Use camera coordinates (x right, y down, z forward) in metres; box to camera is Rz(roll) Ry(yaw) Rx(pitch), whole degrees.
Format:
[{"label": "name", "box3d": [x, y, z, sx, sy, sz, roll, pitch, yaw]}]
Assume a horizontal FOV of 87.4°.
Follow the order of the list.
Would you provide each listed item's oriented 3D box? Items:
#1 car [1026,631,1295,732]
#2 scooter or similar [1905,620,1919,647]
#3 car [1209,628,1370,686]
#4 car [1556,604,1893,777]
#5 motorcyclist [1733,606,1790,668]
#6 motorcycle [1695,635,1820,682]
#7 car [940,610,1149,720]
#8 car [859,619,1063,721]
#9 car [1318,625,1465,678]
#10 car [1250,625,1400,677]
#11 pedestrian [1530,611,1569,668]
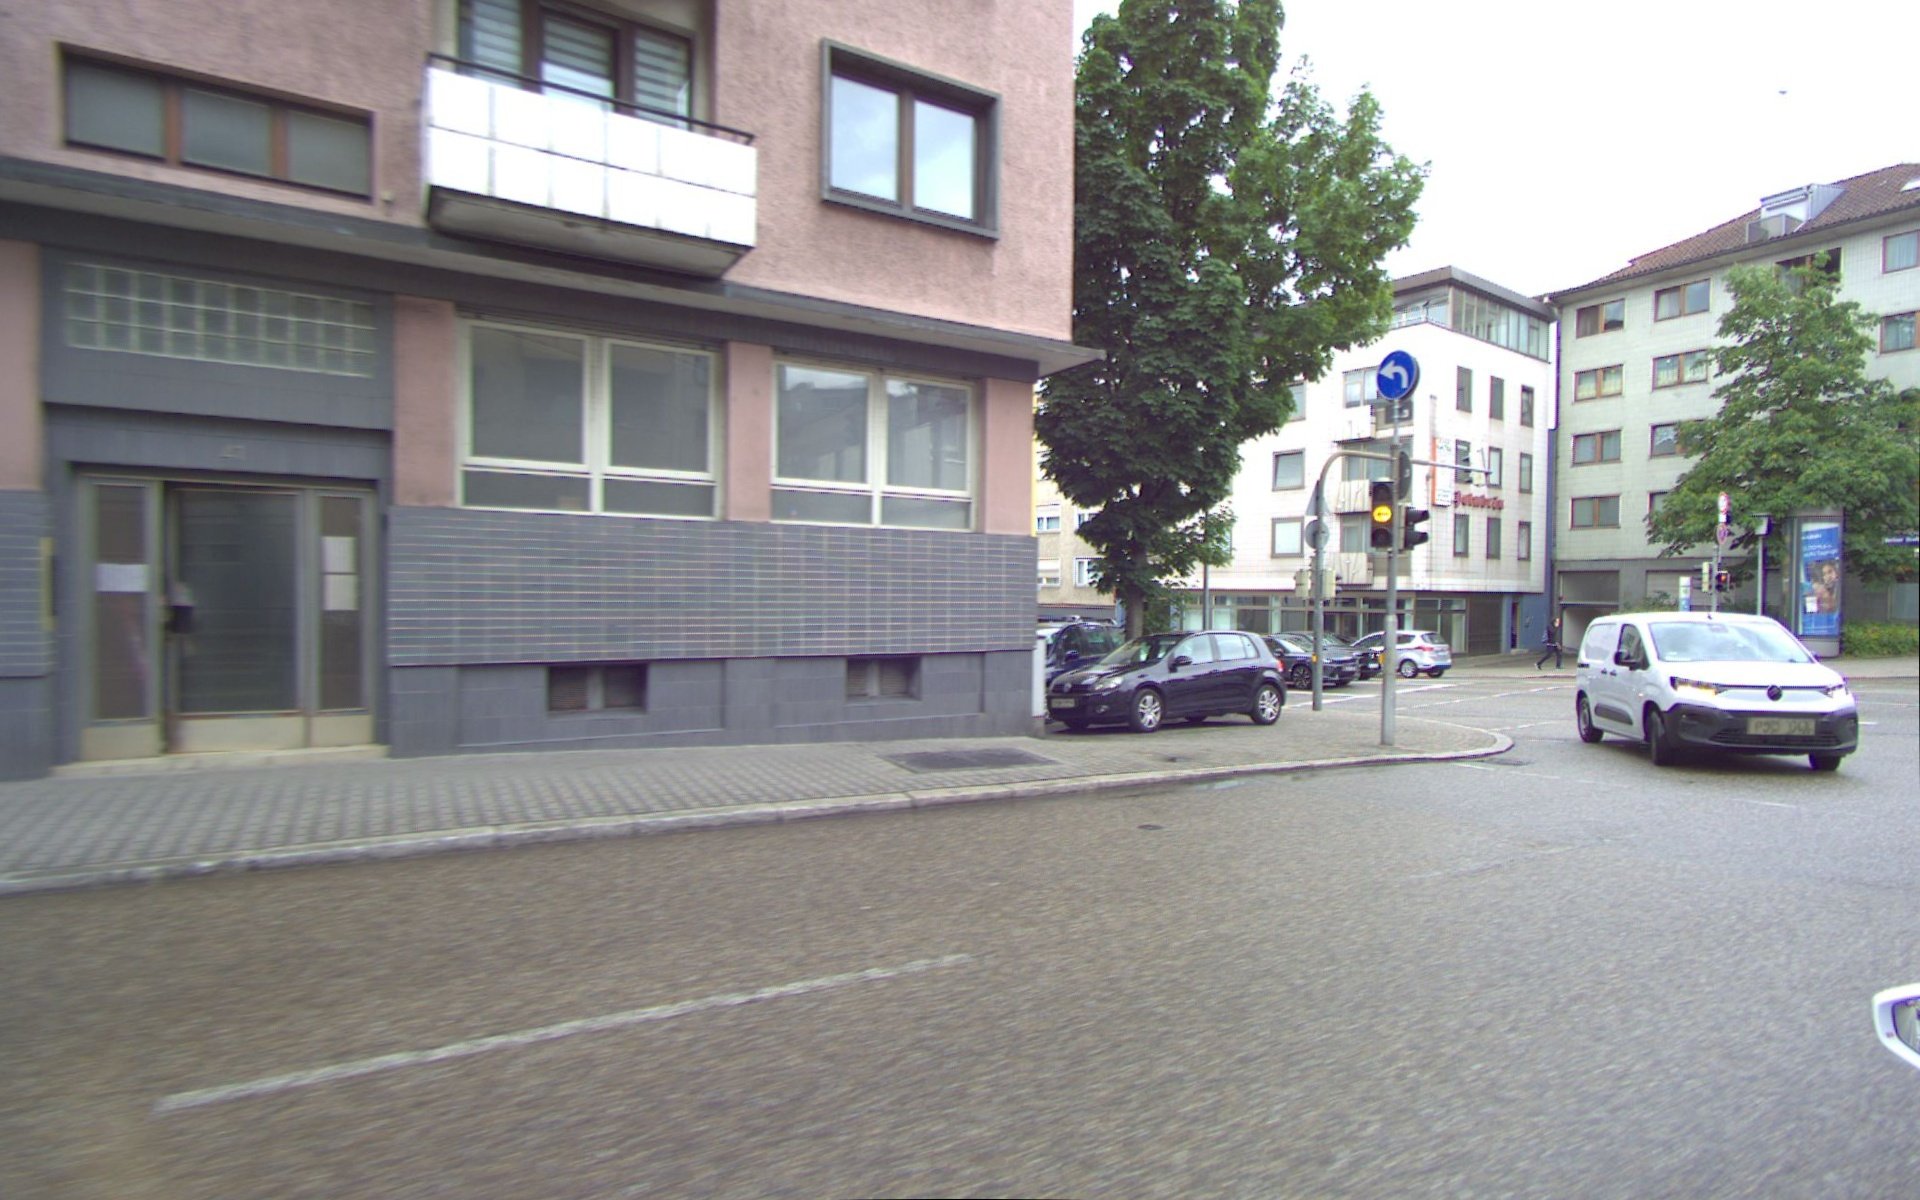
[{"label": "car", "box3d": [3.117, 1.204, 15.460, 3.954, 1.377, 1.724, 2, -3, -31]}, {"label": "scooter or similar", "box3d": [31.000, 1.098, 31.986, 0.539, 0.854, 1.466, 2, 1, 8]}, {"label": "car", "box3d": [9.470, 1.599, 29.212, 1.805, 1.497, 4.341, 0, -1, -32]}, {"label": "car", "box3d": [9.165, 1.014, 12.586, 1.775, 1.737, 4.549, -1, -2, 16]}, {"label": "motorcyclist", "box3d": [19.279, 0.883, 24.178, 0.895, 1.472, 0.742, 1, 0, -24]}, {"label": "motorcycle", "box3d": [19.243, 1.385, 24.303, 0.852, 1.019, 2.240, 1, -1, -21]}, {"label": "car", "box3d": [1.655, 1.168, 18.314, 1.746, 1.750, 4.331, -4, -5, 37]}, {"label": "car", "box3d": [0.098, 1.343, 20.218, 1.836, 1.817, 3.976, -4, -3, 43]}, {"label": "car", "box3d": [14.652, 1.707, 34.322, 2.008, 1.621, 4.219, 1, -1, -36]}, {"label": "car", "box3d": [11.666, 1.662, 32.399, 1.805, 1.557, 4.342, 0, -3, -32]}, {"label": "pedestrian", "box3d": [19.998, 1.321, 34.069, 0.740, 1.842, 0.917, -2, 1, -1]}]
